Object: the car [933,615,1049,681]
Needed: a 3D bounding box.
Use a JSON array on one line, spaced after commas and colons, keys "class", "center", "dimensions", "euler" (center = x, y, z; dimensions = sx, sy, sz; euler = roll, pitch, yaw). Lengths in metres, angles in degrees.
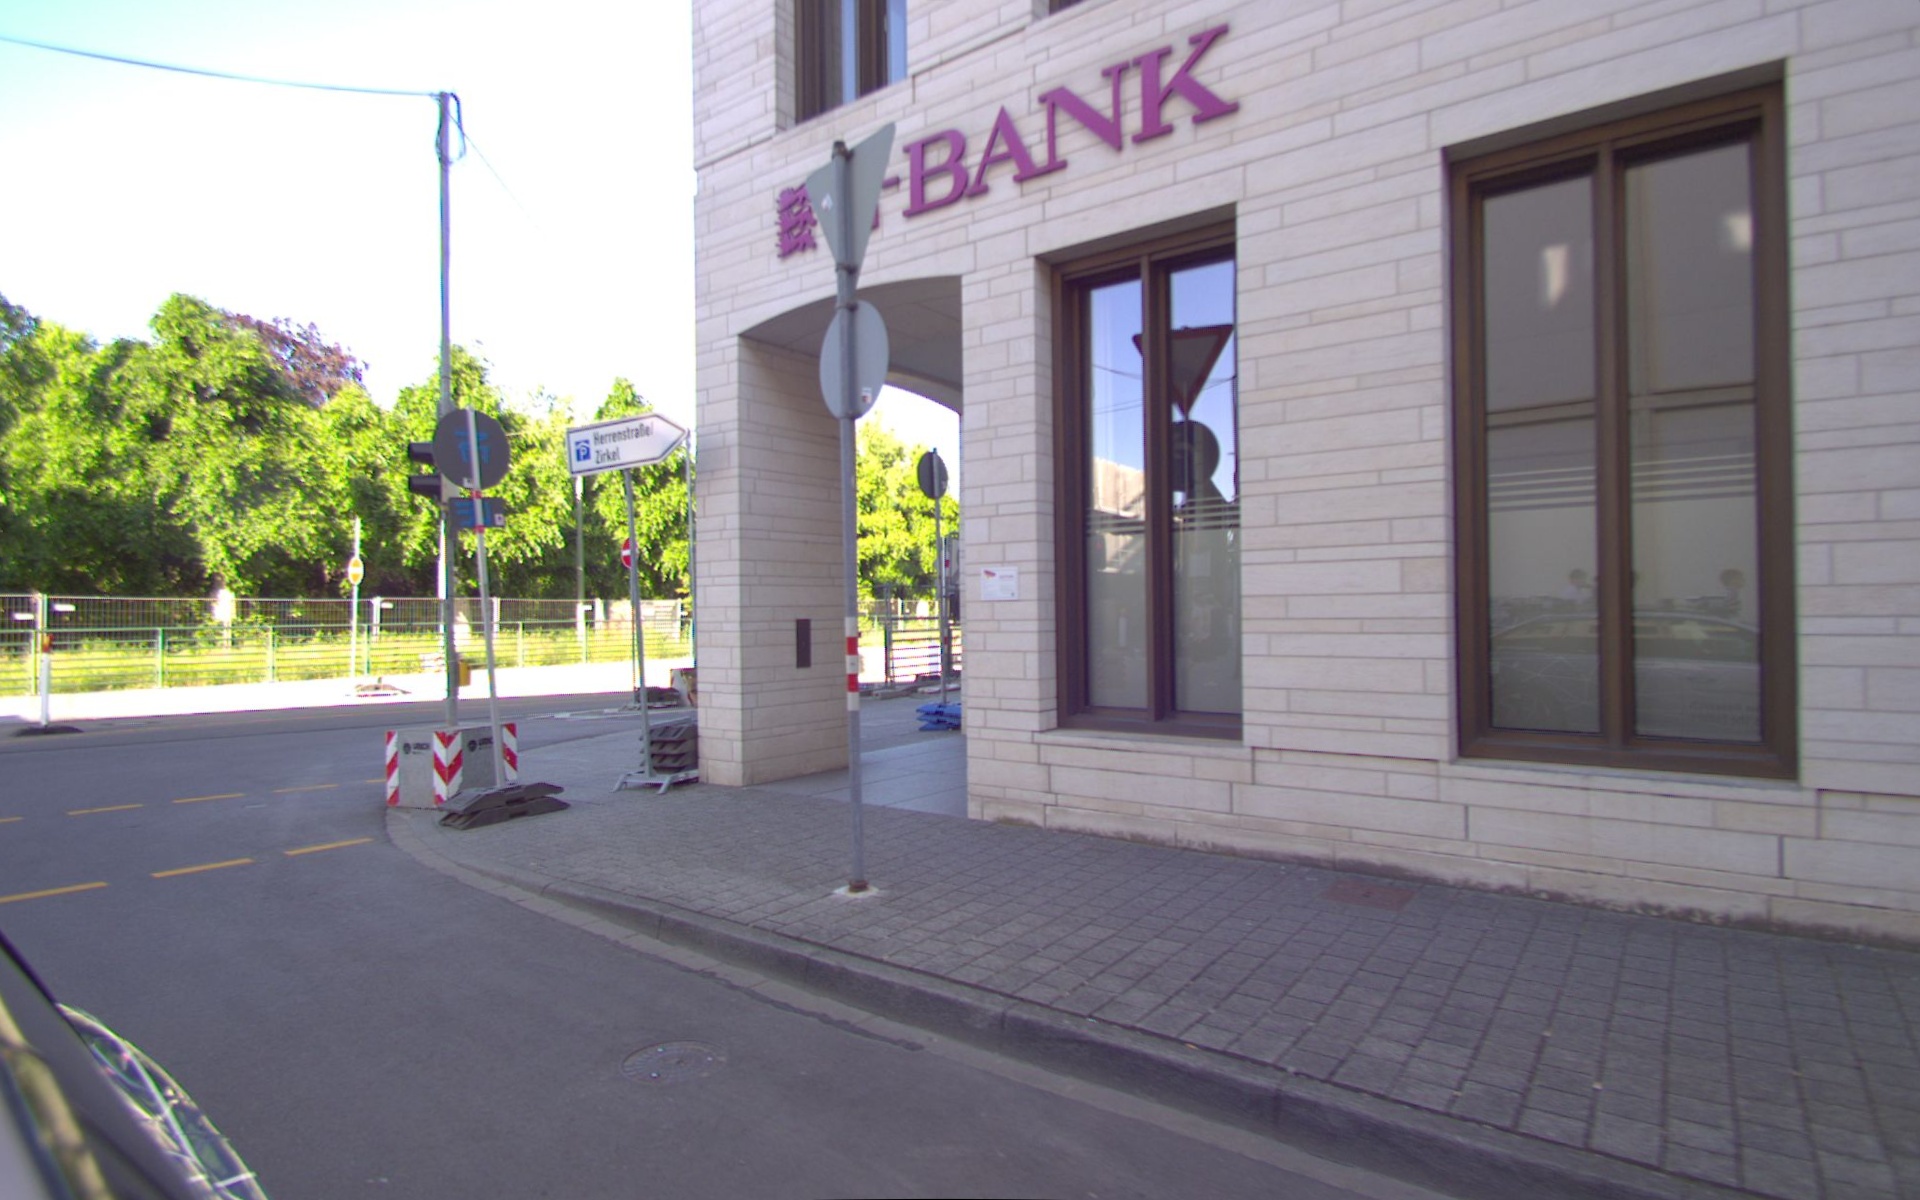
[{"class": "car", "center": [1.517, 2.149, 44.550], "dimensions": [2.110, 2.645, 6.915], "euler": [-2, -4, 30]}]
